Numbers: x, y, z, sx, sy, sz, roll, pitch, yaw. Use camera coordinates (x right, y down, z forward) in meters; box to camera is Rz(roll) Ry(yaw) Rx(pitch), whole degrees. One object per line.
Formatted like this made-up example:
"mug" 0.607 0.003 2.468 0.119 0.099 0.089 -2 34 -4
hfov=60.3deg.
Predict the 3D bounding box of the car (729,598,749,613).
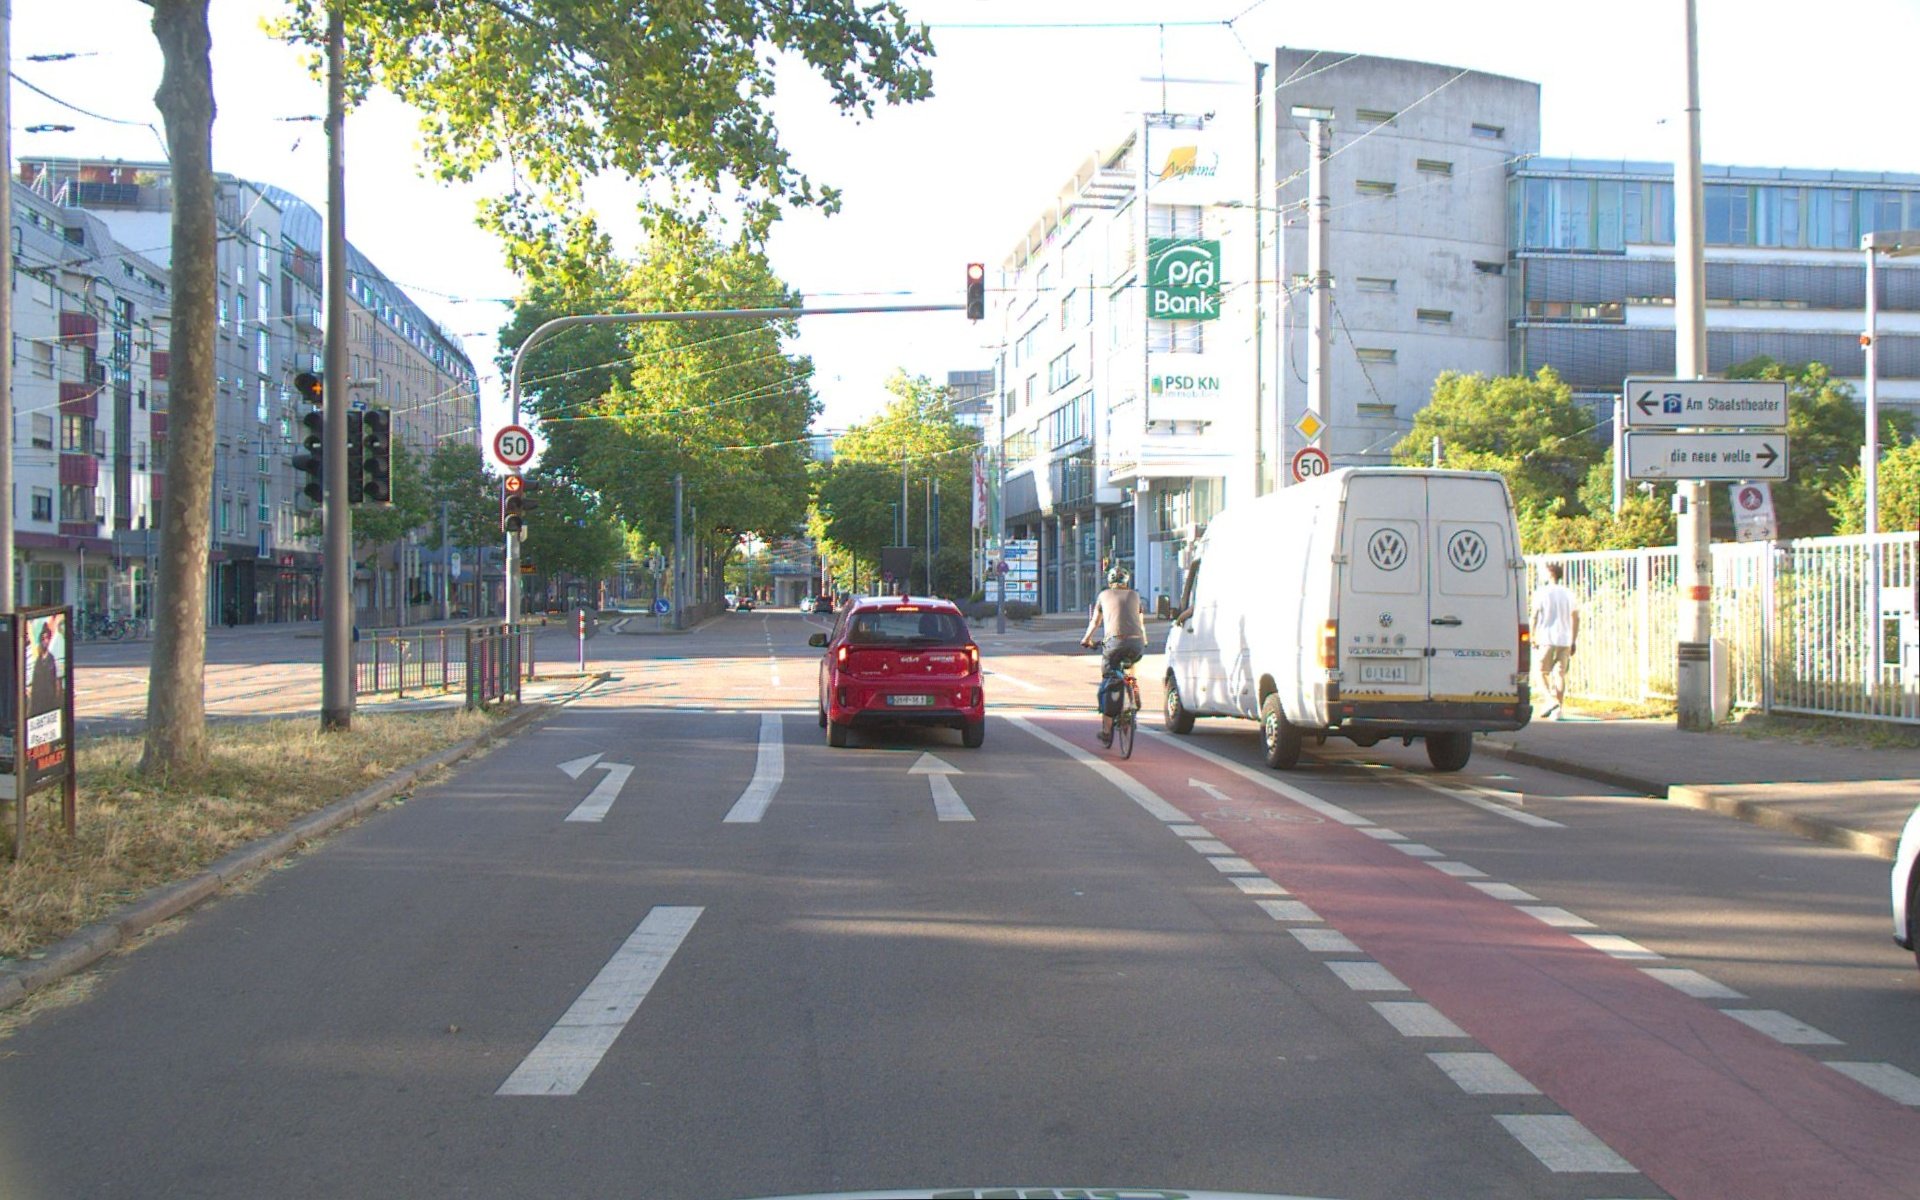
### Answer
"car" -24.791 0.617 185.414 2.021 1.682 3.481 -1 0 -12

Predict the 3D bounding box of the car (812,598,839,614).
"car" -14.117 0.622 173.429 2.432 1.555 4.422 -1 0 -9

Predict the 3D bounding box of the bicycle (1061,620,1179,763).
"bicycle" 1.532 0.850 16.224 0.729 1.245 2.153 1 0 -6

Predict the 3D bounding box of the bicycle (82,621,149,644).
"bicycle" -31.505 1.210 61.736 2.130 0.838 0.526 -1 0 -11

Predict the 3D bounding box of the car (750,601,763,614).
"car" -26.459 0.963 215.124 1.627 1.635 3.524 -1 0 -8

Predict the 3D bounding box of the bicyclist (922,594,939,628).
"bicyclist" -1.454 0.542 81.053 0.770 1.663 0.638 0 0 -8

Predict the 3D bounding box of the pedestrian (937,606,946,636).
"pedestrian" -0.980 1.099 88.370 0.291 1.589 0.351 -1 0 -34

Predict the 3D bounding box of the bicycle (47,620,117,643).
"bicycle" -31.620 1.134 59.586 2.130 0.801 0.639 -1 0 -11

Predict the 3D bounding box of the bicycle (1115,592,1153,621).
"bicycle" 9.095 0.330 86.612 1.899 1.468 0.574 -1 0 -9

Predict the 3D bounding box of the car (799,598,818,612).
"car" -17.421 0.521 190.216 1.851 1.555 4.421 -1 0 -10

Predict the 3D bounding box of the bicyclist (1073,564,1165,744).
"bicyclist" 1.542 0.515 16.152 0.729 1.698 0.744 1 0 -6

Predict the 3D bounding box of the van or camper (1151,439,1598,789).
"van or camper" 3.780 0.116 16.694 2.225 2.781 6.338 2 0 -6

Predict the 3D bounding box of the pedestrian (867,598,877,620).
"pedestrian" -6.985 0.712 131.129 0.728 1.746 0.747 0 0 -6

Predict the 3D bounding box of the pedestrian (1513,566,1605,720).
"pedestrian" 7.117 0.496 19.681 0.770 1.779 0.772 -1 0 -3

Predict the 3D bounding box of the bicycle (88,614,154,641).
"bicycle" -31.633 1.042 62.368 2.130 0.967 0.490 -1 0 -11

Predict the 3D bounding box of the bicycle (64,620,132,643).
"bicycle" -31.469 1.147 60.374 2.130 0.801 0.490 -1 0 -11

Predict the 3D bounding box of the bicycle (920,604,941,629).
"bicycle" -1.452 0.781 81.053 0.777 1.182 2.495 0 0 -8

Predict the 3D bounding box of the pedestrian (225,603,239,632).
"pedestrian" -37.139 0.897 84.422 0.500 1.484 0.527 -1 0 -7

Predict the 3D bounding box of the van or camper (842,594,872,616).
"van or camper" -8.933 0.421 142.920 2.106 1.781 4.421 -1 0 -10

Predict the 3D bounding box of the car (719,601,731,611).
"car" -33.392 0.851 235.137 1.545 1.329 3.333 -1 0 -8

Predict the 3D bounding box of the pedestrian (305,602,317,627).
"pedestrian" -38.387 0.867 97.836 0.501 1.484 0.527 -1 0 -9

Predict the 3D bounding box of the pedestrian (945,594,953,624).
"pedestrian" -0.594 0.463 88.358 0.290 1.589 0.312 -1 0 -22

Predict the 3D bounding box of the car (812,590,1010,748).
"car" -0.634 0.659 17.939 1.804 1.515 3.710 0 0 -7

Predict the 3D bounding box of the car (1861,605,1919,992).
"car" 4.678 0.796 4.988 1.765 1.527 3.981 1 0 0
